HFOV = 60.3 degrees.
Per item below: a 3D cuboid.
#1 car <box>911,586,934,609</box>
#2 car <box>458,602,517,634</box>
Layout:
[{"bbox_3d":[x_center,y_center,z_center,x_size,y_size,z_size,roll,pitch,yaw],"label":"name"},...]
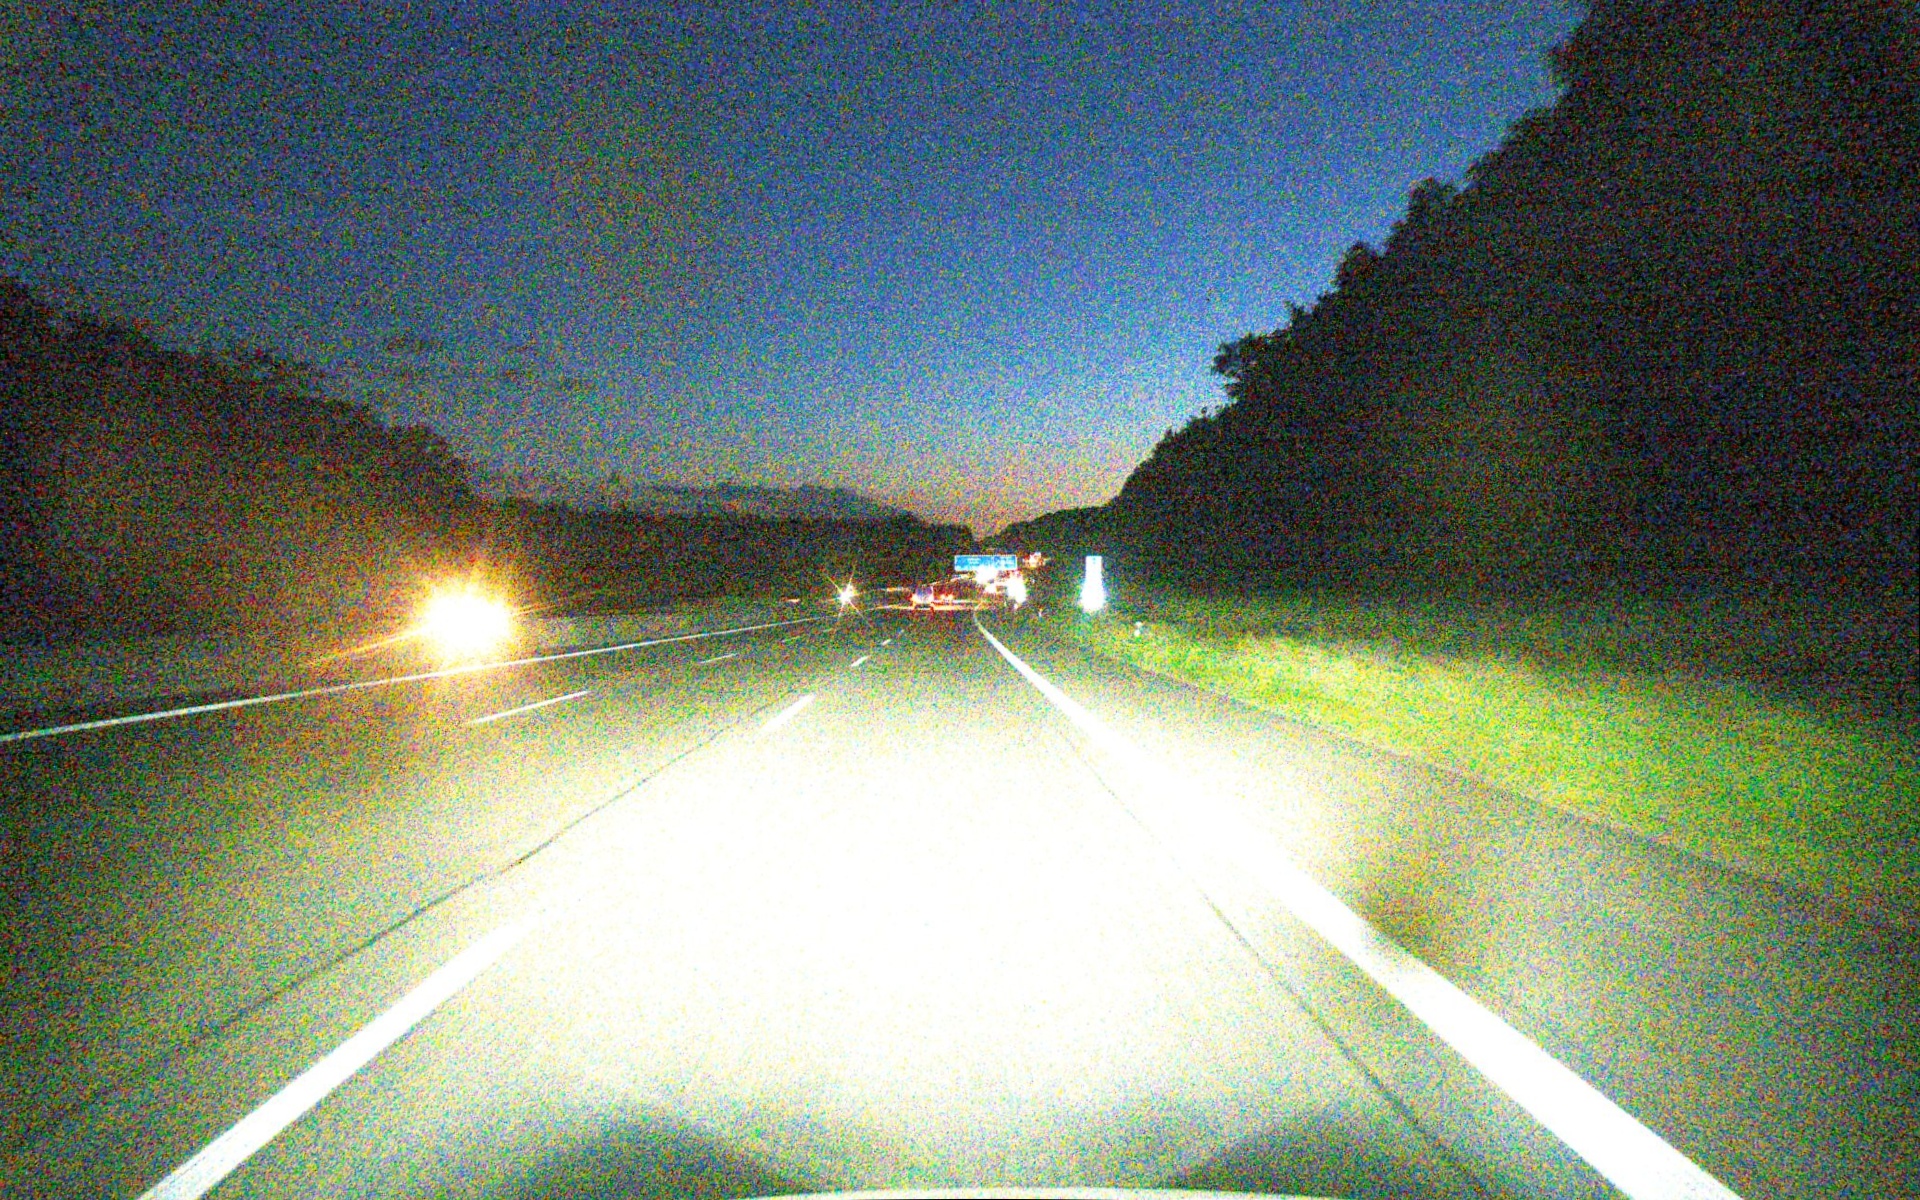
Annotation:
[{"bbox_3d":[-4.008,-0.257,176.949,2.460,2.354,4.970,0,0,-1],"label":"car"},{"bbox_3d":[-19.602,0.713,68.740,1.560,1.287,3.997,0,0,-4],"label":"car"}]
